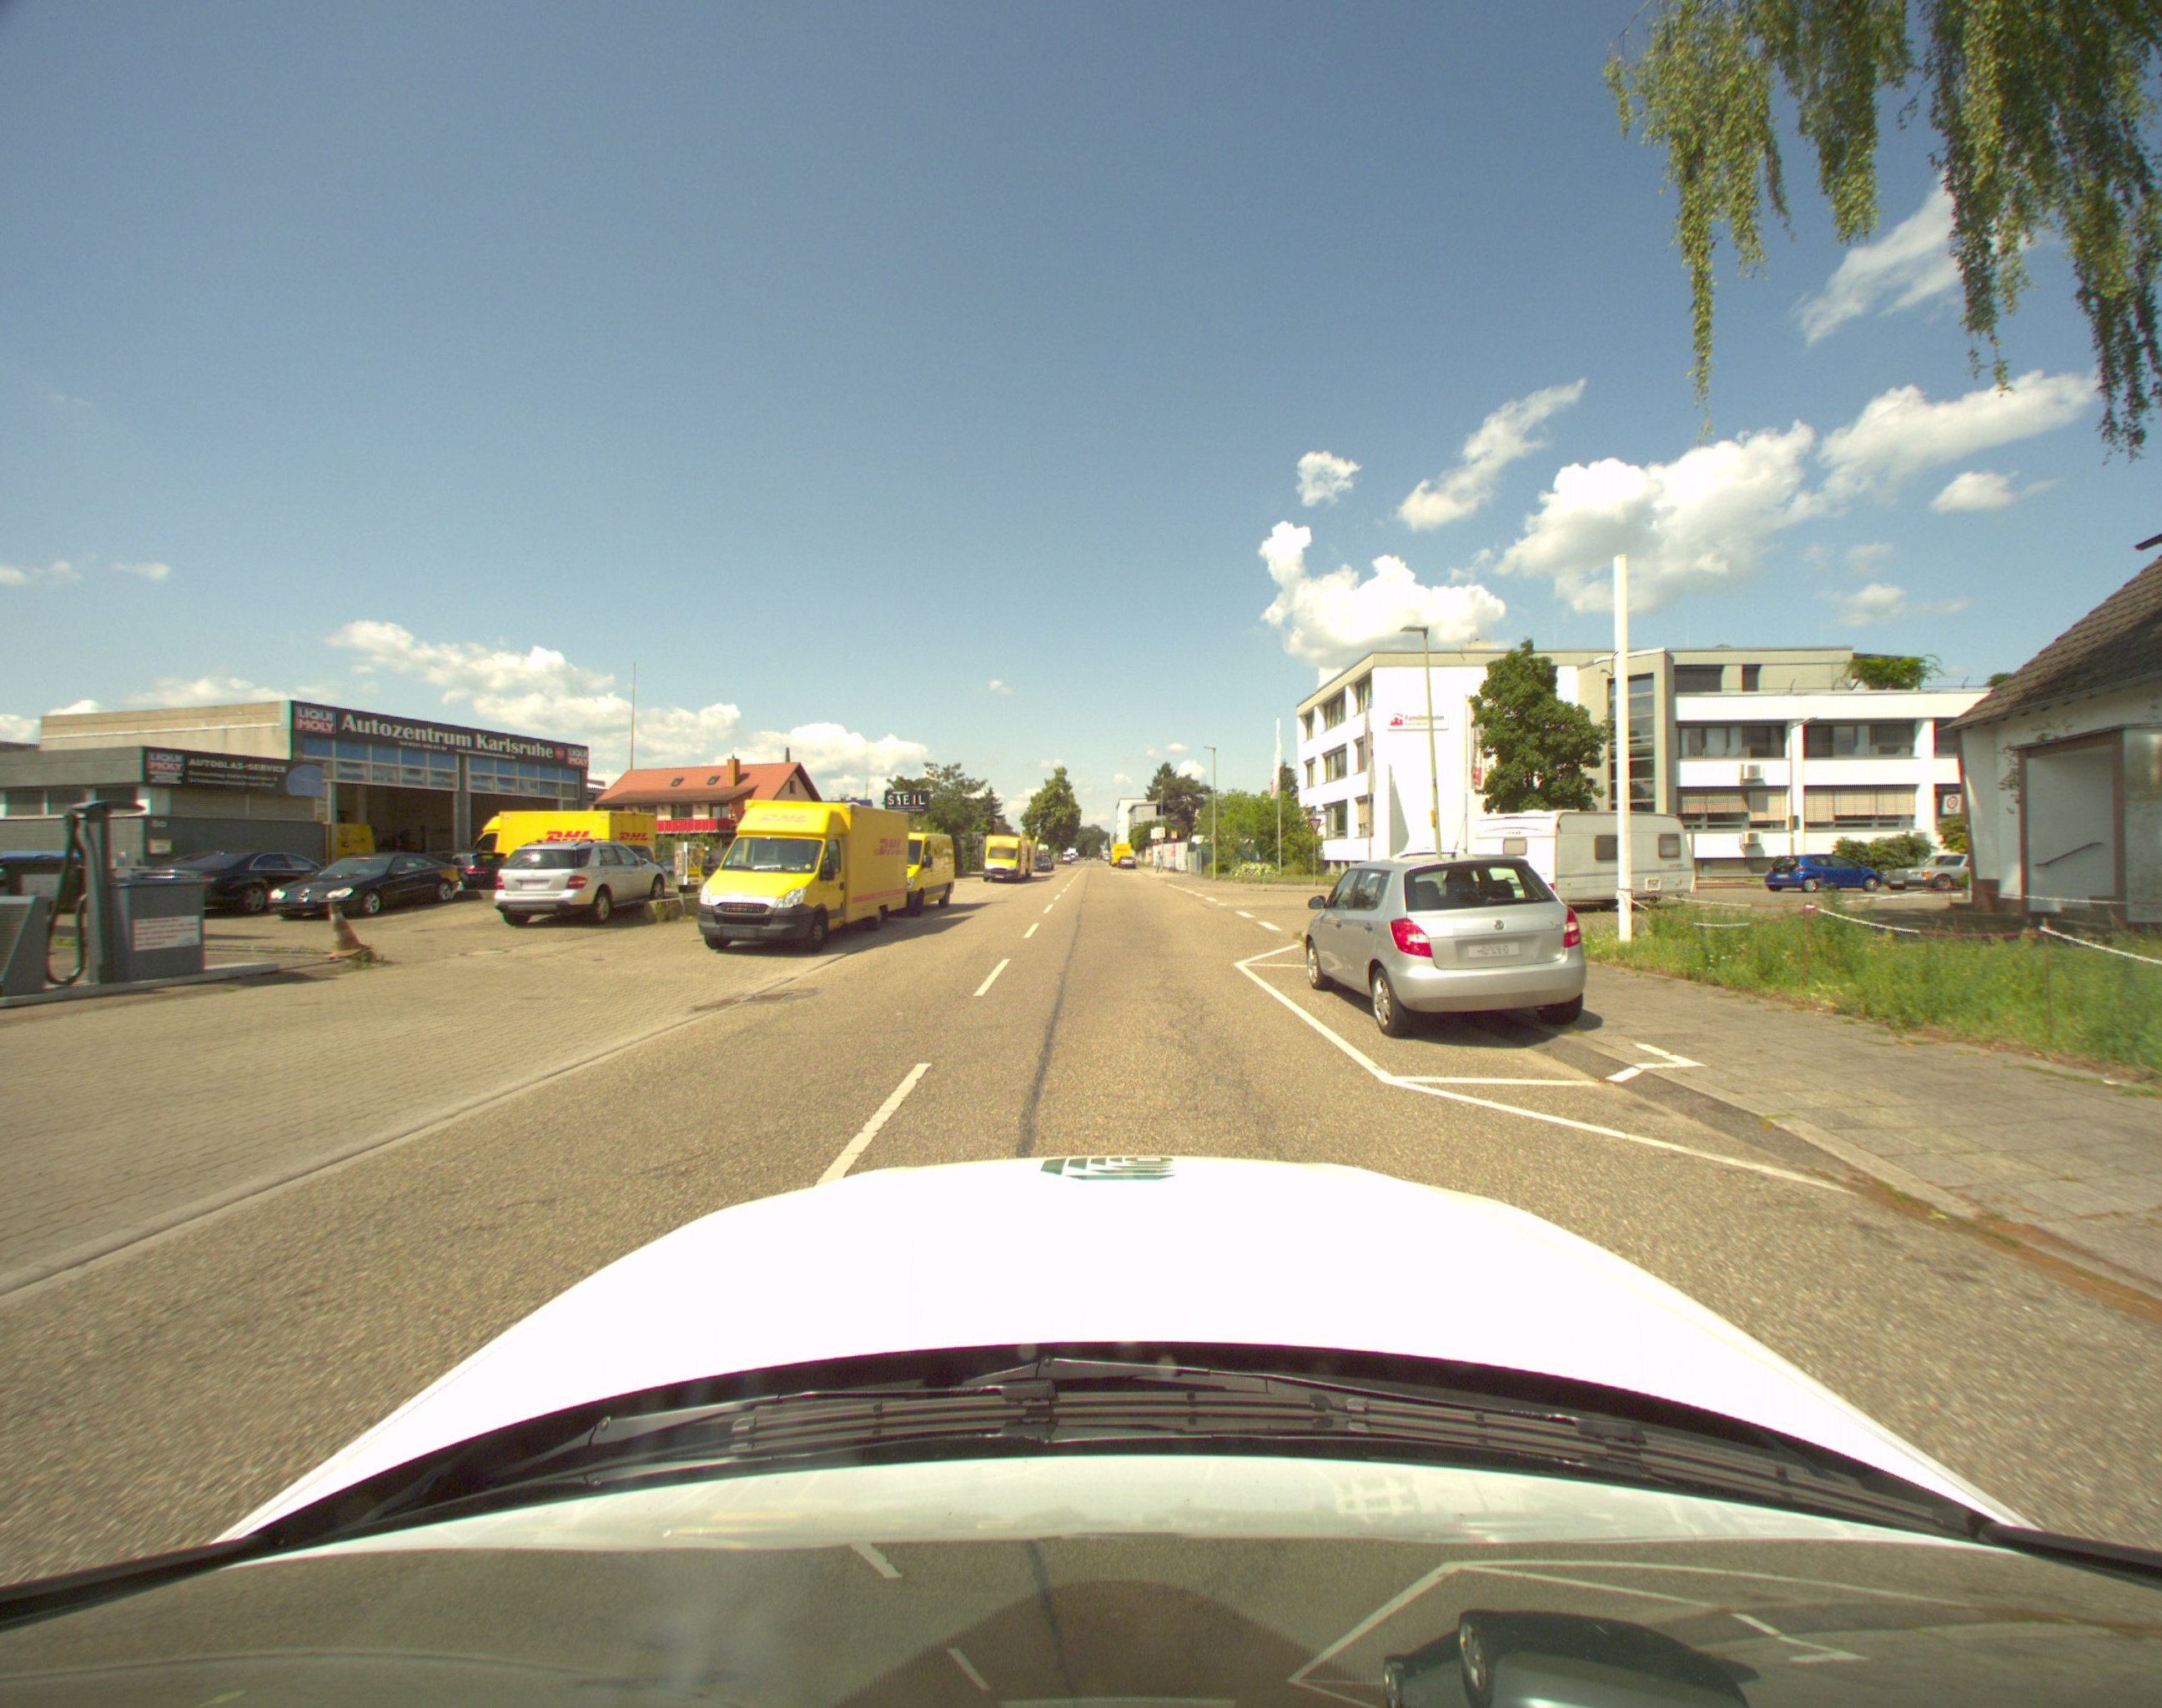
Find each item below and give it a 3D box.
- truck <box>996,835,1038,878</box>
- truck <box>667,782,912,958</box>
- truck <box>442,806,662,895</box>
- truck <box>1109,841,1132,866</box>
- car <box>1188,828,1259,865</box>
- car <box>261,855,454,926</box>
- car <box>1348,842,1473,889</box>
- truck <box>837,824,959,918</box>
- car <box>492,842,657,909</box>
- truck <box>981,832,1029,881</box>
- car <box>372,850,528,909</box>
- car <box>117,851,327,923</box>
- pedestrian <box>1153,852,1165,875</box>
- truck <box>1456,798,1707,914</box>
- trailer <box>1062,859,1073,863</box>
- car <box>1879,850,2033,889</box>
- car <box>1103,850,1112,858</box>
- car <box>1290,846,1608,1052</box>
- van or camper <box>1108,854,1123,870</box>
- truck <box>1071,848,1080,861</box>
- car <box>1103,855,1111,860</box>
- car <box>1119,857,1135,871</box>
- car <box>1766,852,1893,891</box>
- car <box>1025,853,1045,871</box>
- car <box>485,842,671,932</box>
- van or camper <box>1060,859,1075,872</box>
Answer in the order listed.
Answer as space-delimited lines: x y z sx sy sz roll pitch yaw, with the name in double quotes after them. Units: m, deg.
-4.557 0.201 59.081 2.308 2.862 7.105 2 0 1 "truck"
-5.530 0.265 16.937 2.211 2.857 7.074 1 0 3 "truck"
-18.279 -0.087 28.236 6.551 2.850 2.538 -1 0 13 "truck"
4.858 -0.018 100.678 2.467 2.940 7.187 1 0 0 "truck"
10.744 -0.559 61.687 4.902 2.652 2.068 -1 0 -7 "car"
-17.310 0.787 19.770 1.671 1.287 3.993 0 3 -12 "car"
12.804 0.505 31.905 4.359 1.753 1.873 -1 -3 19 "car"
-5.189 0.439 24.057 1.986 2.413 6.068 -1 0 2 "truck"
-15.160 0.599 24.449 3.904 1.810 1.861 2 0 10 "car"
-4.604 0.183 50.634 2.261 2.855 7.173 1 -1 0 "truck"
-19.692 0.787 25.468 3.817 1.731 1.738 -1 0 11 "car"
-20.309 0.720 19.515 1.870 1.372 3.974 1 2 -20 "car"
6.091 0.735 63.429 0.714 1.697 0.522 -6 0 -4 "pedestrian"
12.676 0.028 20.582 6.070 2.577 2.545 0 0 -26 "truck"
-3.182 1.592 191.113 2.408 0.813 5.538 1 0 1 "trailer"
33.161 0.574 30.931 4.229 1.398 1.616 -1 0 -1 "car"
6.746 -0.026 206.811 2.208 2.013 5.486 -1 0 1 "car"
3.367 0.735 8.330 1.604 1.580 4.003 1 0 3 "car"
5.071 1.241 120.881 1.986 2.291 5.448 1 0 1 "van or camper"
-1.464 0.113 205.050 2.022 3.154 6.501 -1 0 1 "truck"
6.105 0.838 193.250 1.921 1.310 4.000 -1 0 1 "car"
5.011 1.090 88.867 1.646 1.387 4.424 0 0 1 "car"
28.232 0.654 30.787 3.344 1.398 1.616 -1 0 -1 "car"
-4.387 0.715 77.961 1.719 1.604 4.412 2 0 -1 "car"
-11.276 0.624 18.701 1.827 1.705 4.696 -1 2 -8 "car"
-2.567 2.168 160.077 2.164 2.413 7.706 -1 0 4 "van or camper"
